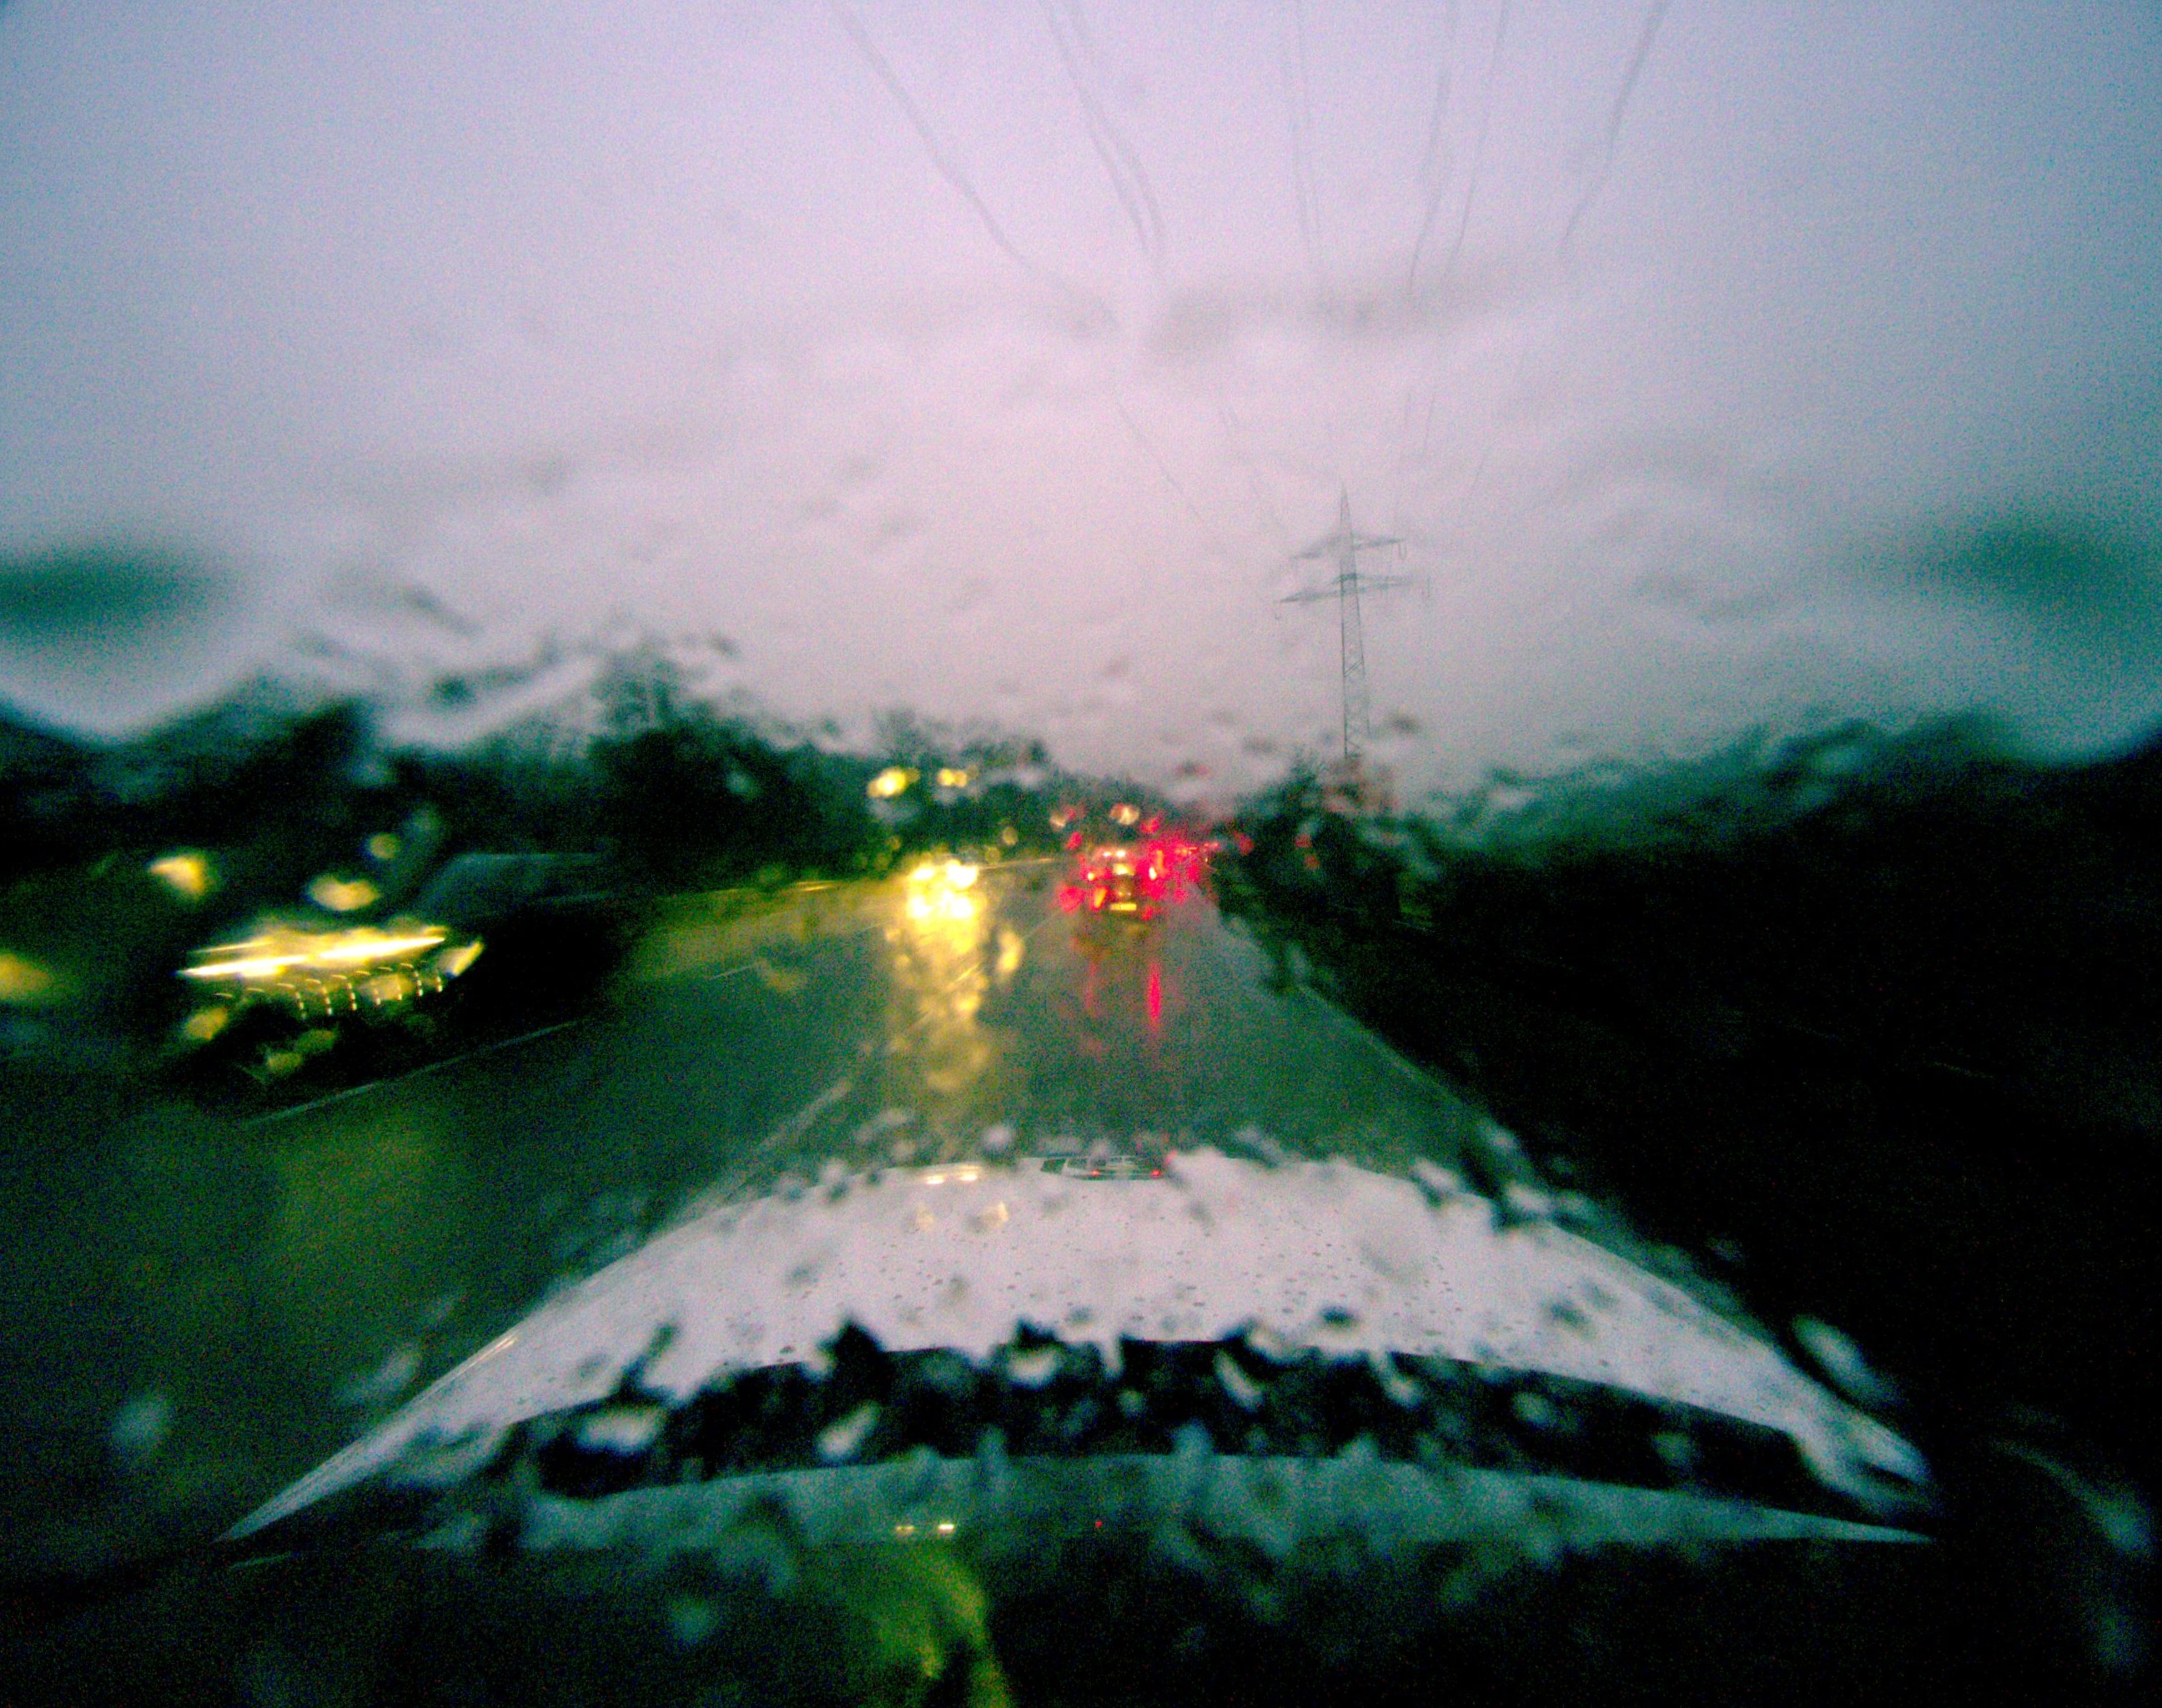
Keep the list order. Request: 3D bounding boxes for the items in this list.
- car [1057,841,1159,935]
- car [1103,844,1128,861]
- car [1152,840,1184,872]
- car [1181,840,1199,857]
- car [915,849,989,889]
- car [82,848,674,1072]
[{"bbox_3d":[0.596,0.595,16.880,1.723,1.532,4.046,-6,1,3],"label":"car"},{"bbox_3d":[3.233,-0.172,75.526,1.853,1.501,4.533,-2,1,8],"label":"car"},{"bbox_3d":[5.928,0.125,55.910,1.937,2.013,4.004,-3,0,4],"label":"car"},{"bbox_3d":[12.645,-0.638,94.505,1.935,1.744,4.010,-2,3,8],"label":"car"},{"bbox_3d":[-5.132,0.556,33.024,1.984,1.490,4.387,-1,0,4],"label":"car"},{"bbox_3d":[-6.181,0.763,8.065,1.880,1.589,4.386,-1,0,3],"label":"car"}]
